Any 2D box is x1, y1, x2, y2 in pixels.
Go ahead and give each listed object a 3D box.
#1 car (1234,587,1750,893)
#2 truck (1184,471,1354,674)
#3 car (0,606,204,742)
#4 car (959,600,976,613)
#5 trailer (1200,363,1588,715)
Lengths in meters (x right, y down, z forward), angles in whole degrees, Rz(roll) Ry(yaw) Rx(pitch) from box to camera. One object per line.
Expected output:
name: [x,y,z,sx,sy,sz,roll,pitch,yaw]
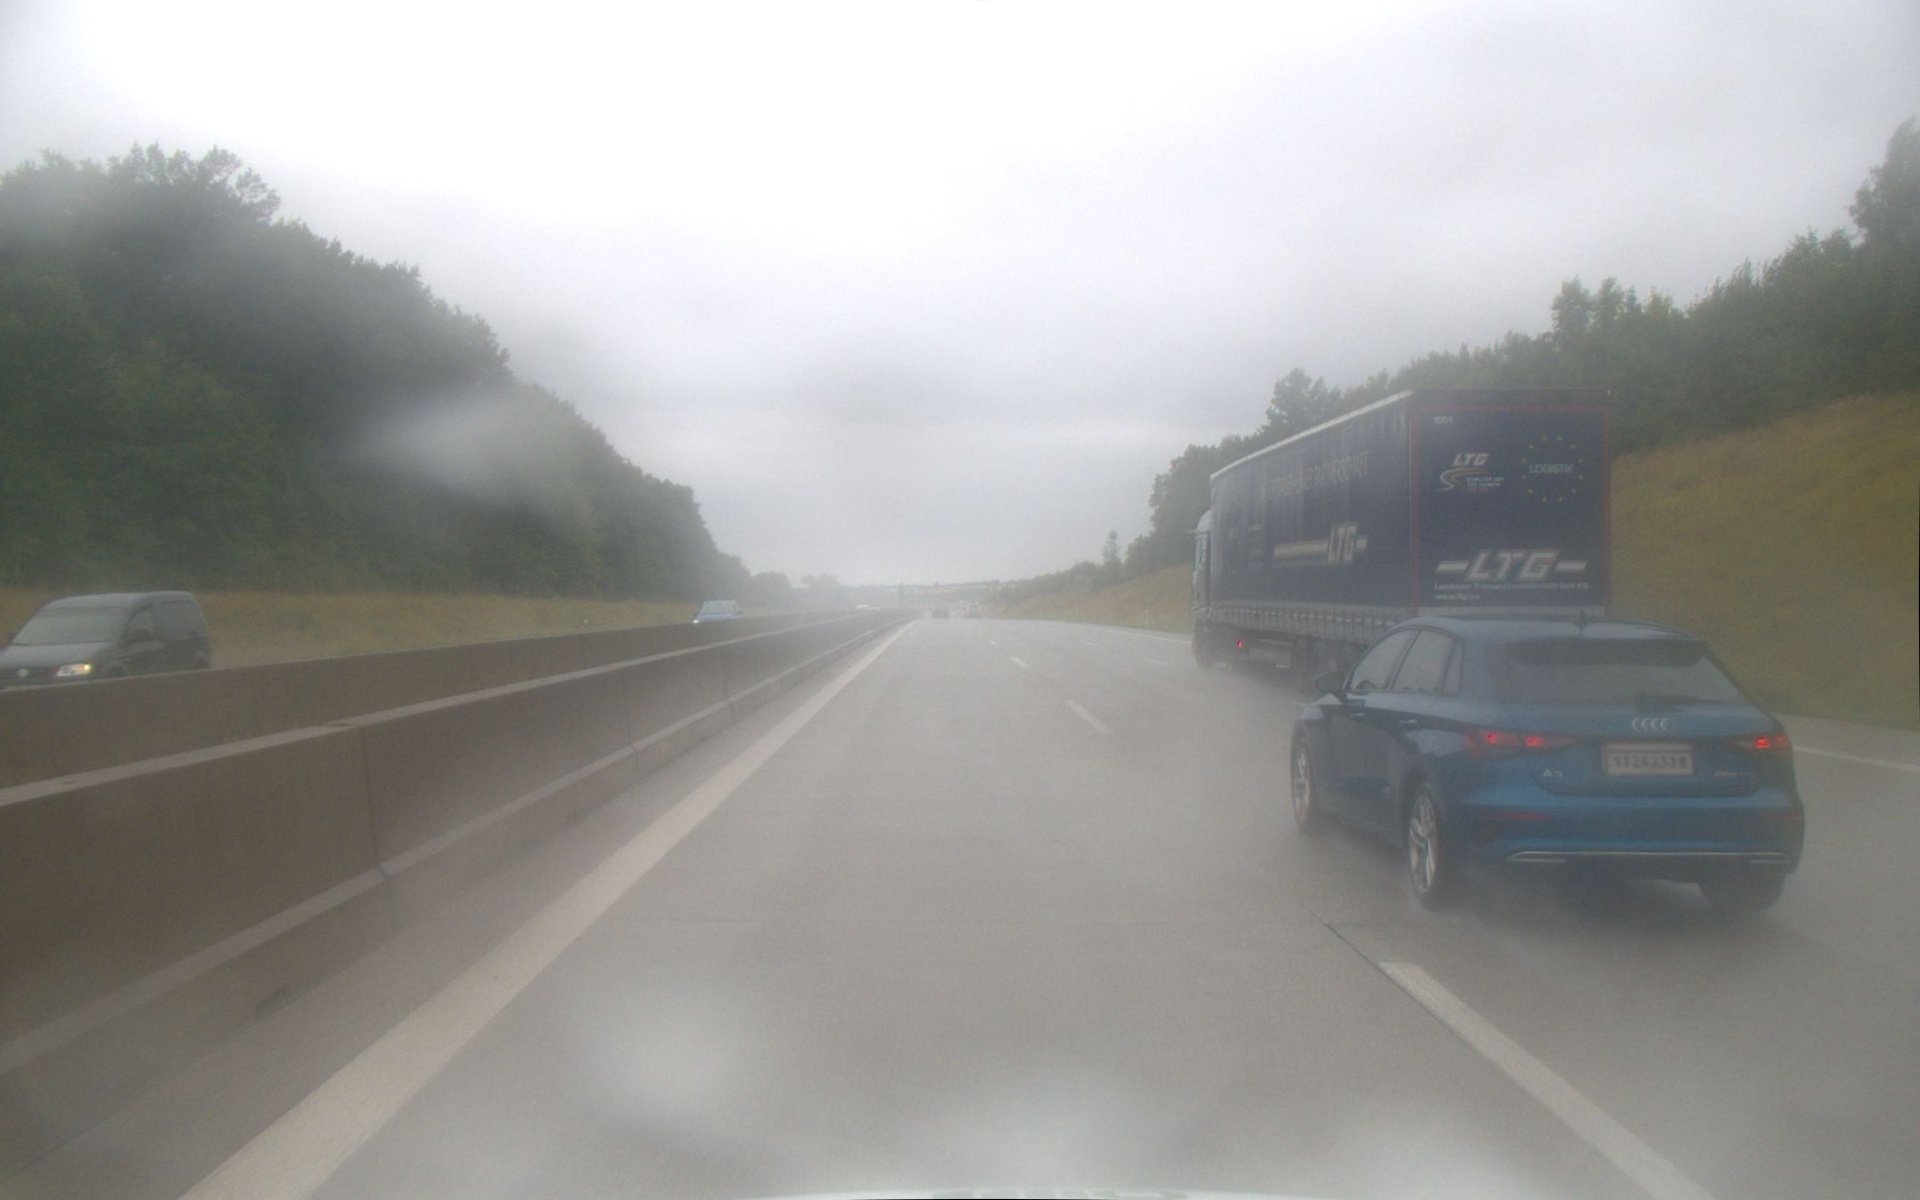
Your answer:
car: [3.025,0.725,10.529,1.694,1.484,4.671,-1,-1,-1]
truck: [6.572,-0.547,35.941,2.582,4.023,5.685,1,0,0]
car: [-12.563,0.963,23.065,1.841,1.694,4.687,-2,0,0]
car: [0.852,0.751,181.024,1.810,1.354,4.429,0,1,-1]
trailer: [6.640,-0.761,28.702,2.651,4.456,15.203,1,0,0]
